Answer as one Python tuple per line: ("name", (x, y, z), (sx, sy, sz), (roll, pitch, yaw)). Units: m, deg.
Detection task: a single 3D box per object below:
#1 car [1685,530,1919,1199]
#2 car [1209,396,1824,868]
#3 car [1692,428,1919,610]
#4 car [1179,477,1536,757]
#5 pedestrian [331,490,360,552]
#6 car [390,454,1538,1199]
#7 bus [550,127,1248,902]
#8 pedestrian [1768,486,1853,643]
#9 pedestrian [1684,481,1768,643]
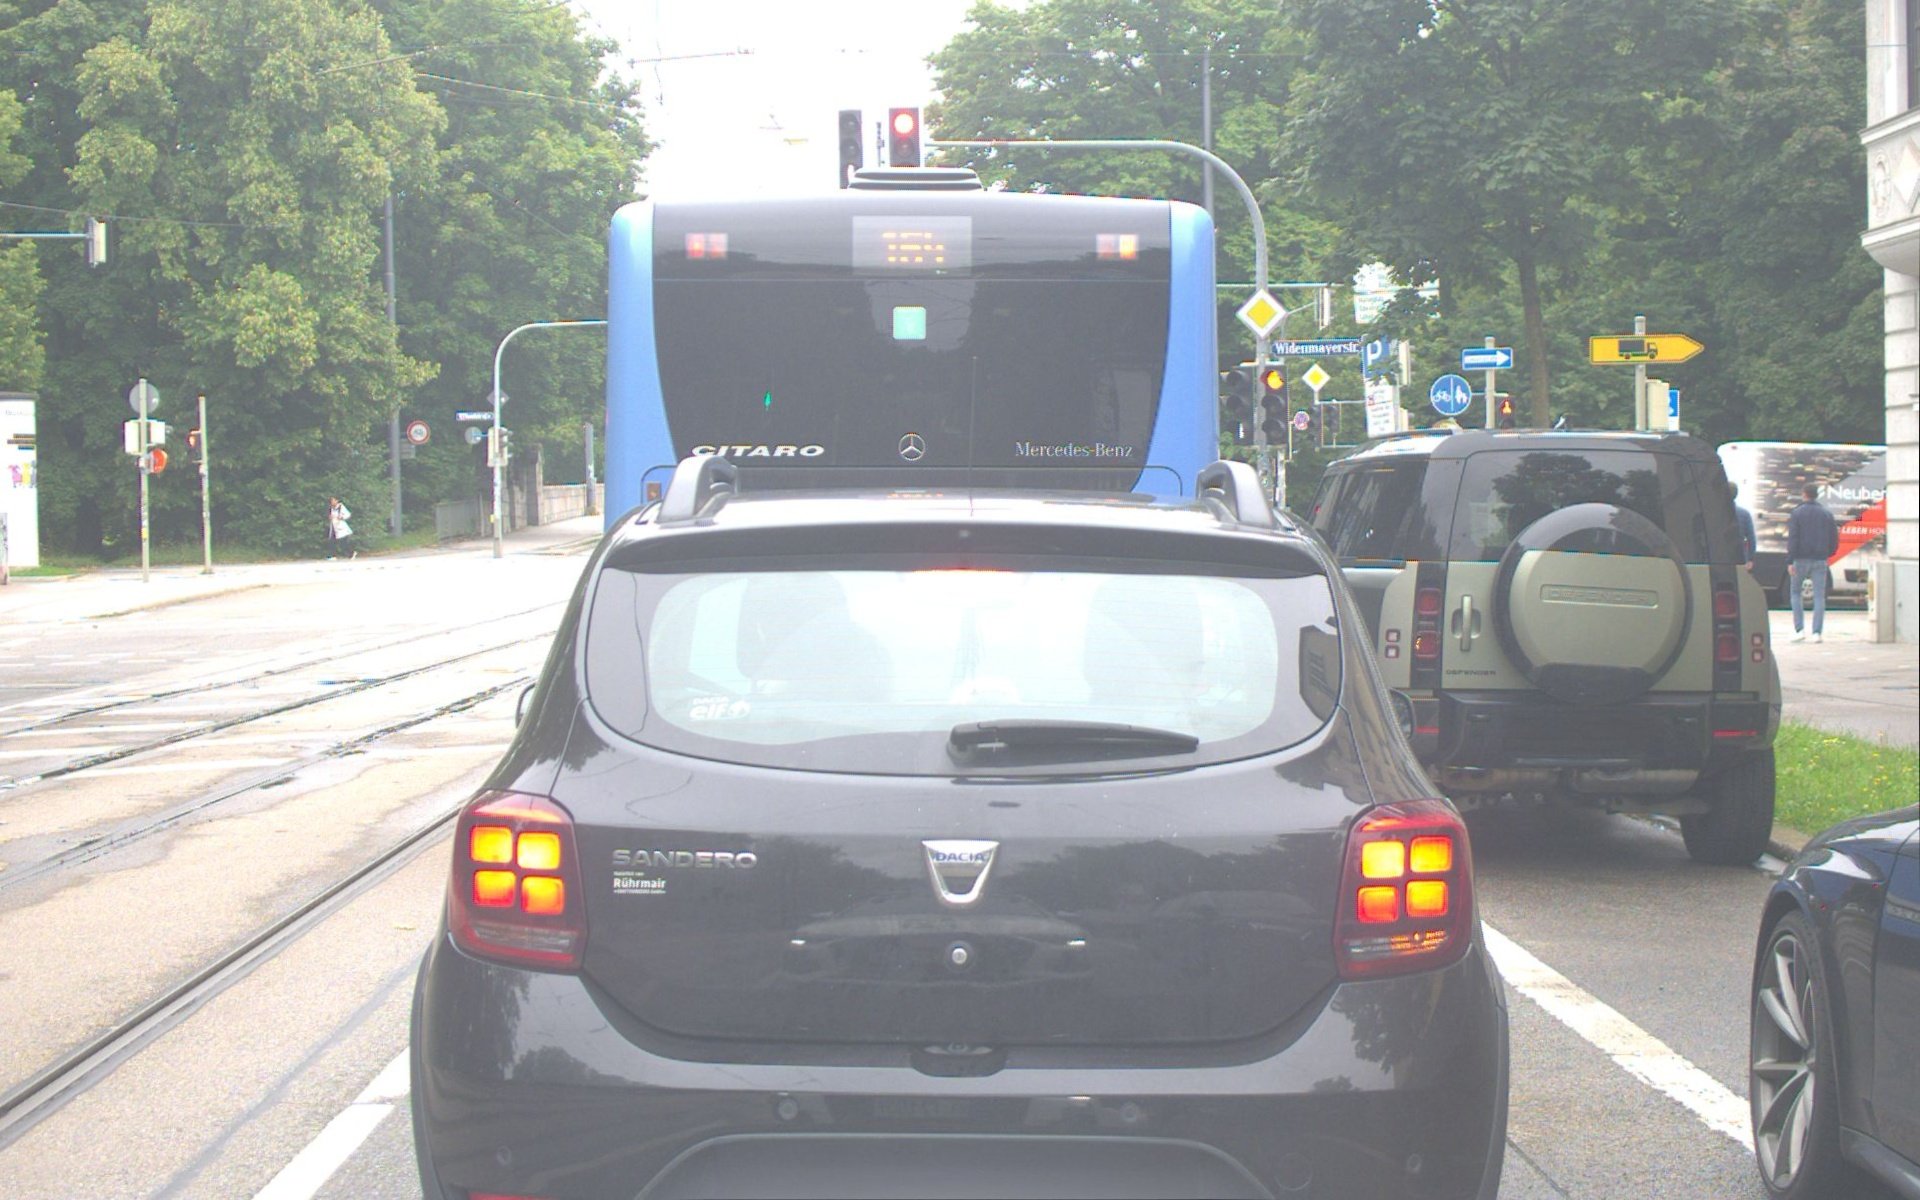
("car", (2.635, 0.608, 5.846), (1.716, 1.421, 4.603), (1, 1, -1))
("car", (2.456, 0.088, 16.479), (1.914, 1.899, 4.809), (1, 1, -3))
("car", (13.897, -1.178, 51.433), (5.295, 2.603, 2.231), (1, 1, -3))
("car", (2.439, 0.058, 22.057), (1.714, 1.586, 4.327), (1, 1, -1))
("pedestrian", (-14.848, -1.906, 83.041), (0.532, 1.496, 0.588), (1, 1, 4))
("car", (-0.034, 0.554, 6.620), (1.600, 1.551, 3.525), (1, 1, -1))
("bus", (-0.383, -0.395, 16.972), (2.678, 2.987, 6.962), (1, 1, -2))
("pedestrian", (9.542, -0.404, 38.587), (0.705, 1.726, 0.843), (1, 1, -1))
("pedestrian", (8.733, -0.439, 39.215), (0.705, 1.810, 0.870), (1, 1, -1))
